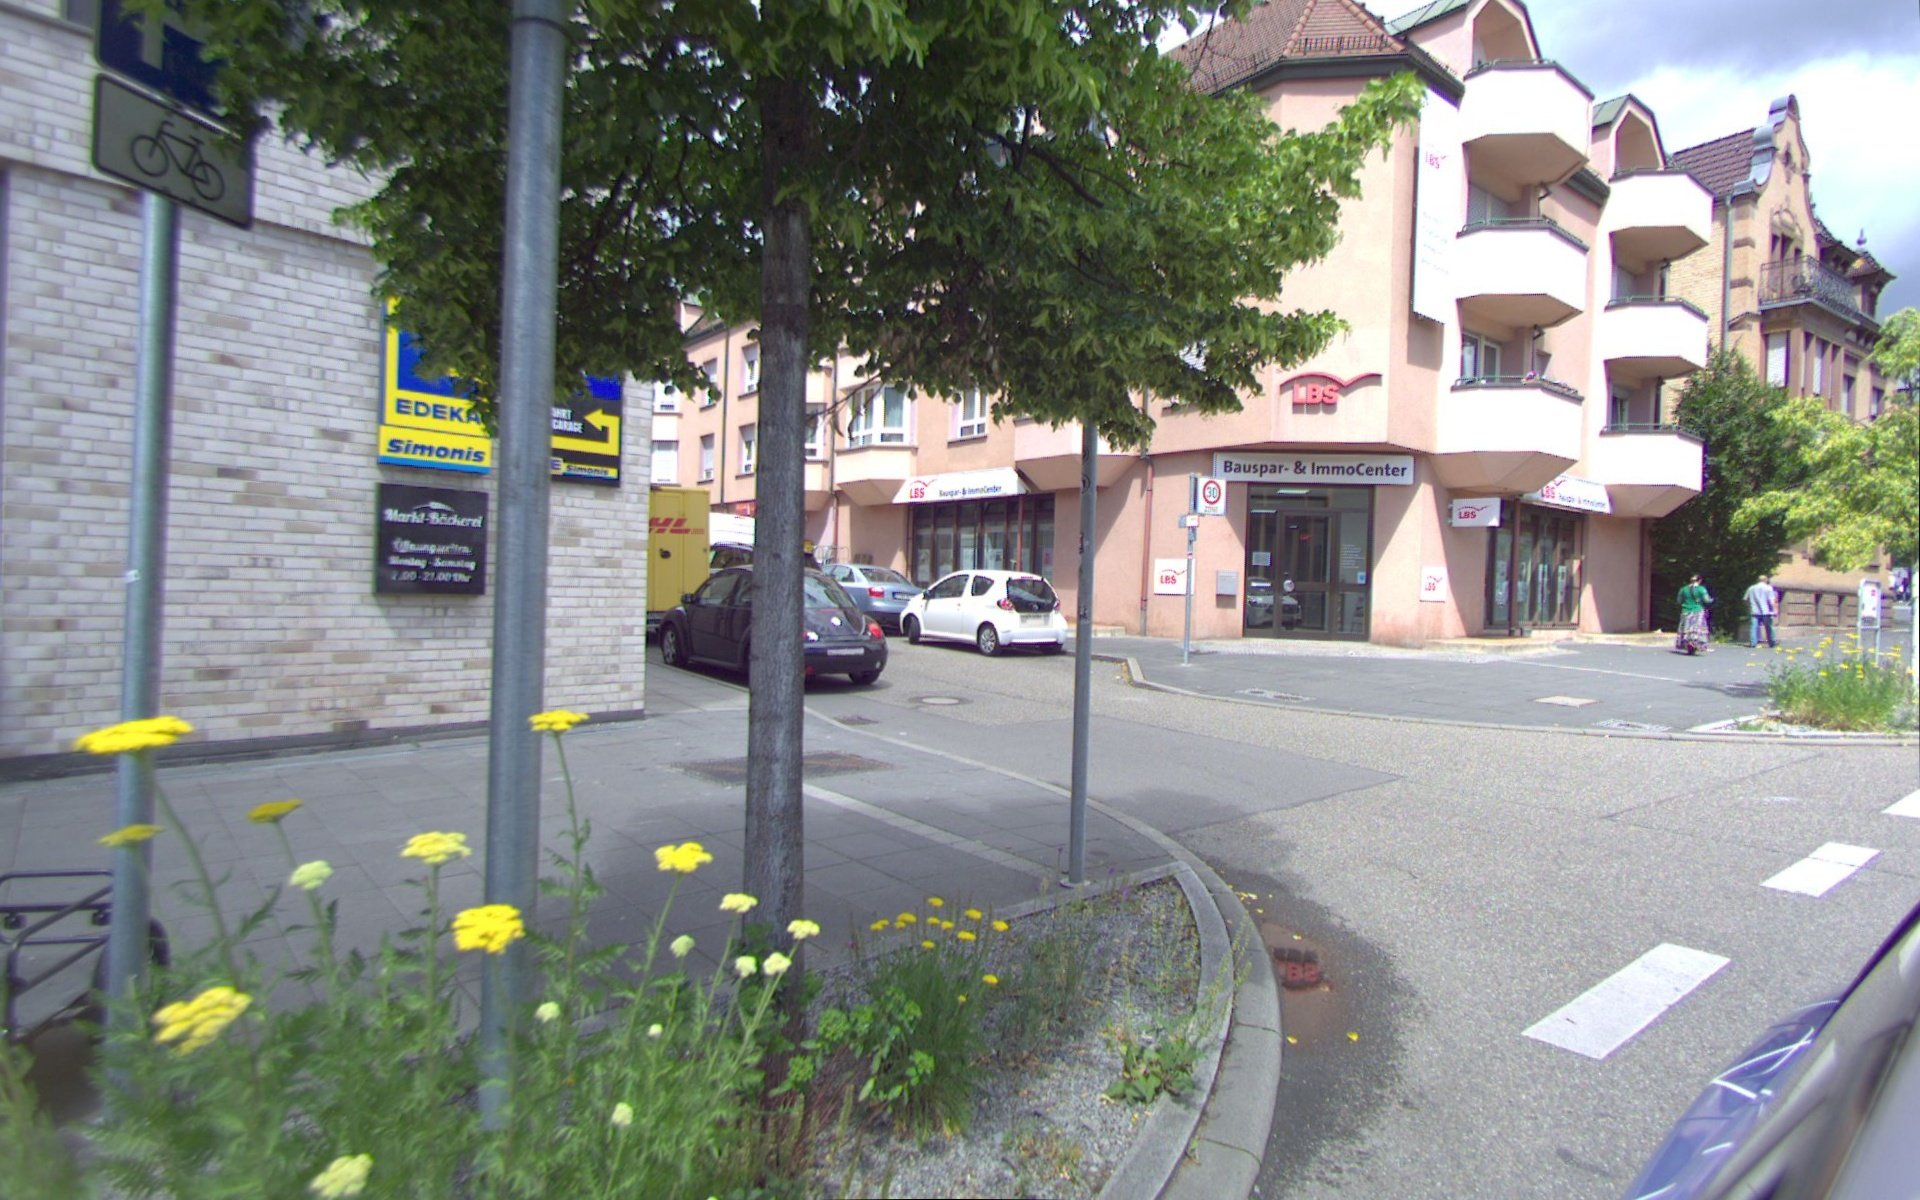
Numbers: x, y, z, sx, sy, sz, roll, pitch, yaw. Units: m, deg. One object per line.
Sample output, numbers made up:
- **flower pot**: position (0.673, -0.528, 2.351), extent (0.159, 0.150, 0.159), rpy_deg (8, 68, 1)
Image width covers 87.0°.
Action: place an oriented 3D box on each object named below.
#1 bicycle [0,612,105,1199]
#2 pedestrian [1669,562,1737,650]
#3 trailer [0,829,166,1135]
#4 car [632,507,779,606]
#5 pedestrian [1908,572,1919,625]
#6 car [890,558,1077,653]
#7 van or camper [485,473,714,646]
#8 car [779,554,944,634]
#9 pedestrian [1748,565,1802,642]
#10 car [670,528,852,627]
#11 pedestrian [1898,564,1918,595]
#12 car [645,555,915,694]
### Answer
- **bicycle**: position (-1.860, 0.687, 1.618), extent (0.743, 1.215, 1.826), rpy_deg (0, 3, -41)
- **pedestrian**: position (14.643, 0.109, 19.949), extent (0.910, 1.659, 0.747), rpy_deg (1, 3, -35)
- **trailer**: position (-2.564, 0.988, 2.613), extent (0.796, 0.535, 0.721), rpy_deg (0, 1, -38)
- **car**: position (-7.534, -1.297, 29.426), extent (2.087, 2.585, 5.907), rpy_deg (1, 3, -36)
- **pedestrian**: position (30.037, -0.053, 31.319), extent (0.662, 1.660, 0.741), rpy_deg (-1, 1, -9)
- **car**: position (0.343, 0.038, 18.541), extent (1.686, 1.495, 3.393), rpy_deg (1, 3, -36)
- **van or camper**: position (-7.240, -0.907, 19.652), extent (2.235, 2.768, 6.878), rpy_deg (-1, 5, -37)
- **car**: position (-2.253, -0.182, 22.139), extent (1.797, 1.495, 4.023), rpy_deg (1, 3, -36)
- **pedestrian**: position (18.680, 0.055, 23.189), extent (0.927, 1.706, 0.718), rpy_deg (-1, 3, -38)
- **car**: position (-4.174, -0.524, 20.580), extent (1.962, 1.768, 4.535), rpy_deg (1, 3, -34)
- **pedestrian**: position (59.121, -1.283, 63.135), extent (0.751, 1.937, 0.686), rpy_deg (-1, 1, -25)
- **car**: position (-2.522, 0.212, 13.531), extent (1.753, 1.495, 3.901), rpy_deg (0, 3, -42)
